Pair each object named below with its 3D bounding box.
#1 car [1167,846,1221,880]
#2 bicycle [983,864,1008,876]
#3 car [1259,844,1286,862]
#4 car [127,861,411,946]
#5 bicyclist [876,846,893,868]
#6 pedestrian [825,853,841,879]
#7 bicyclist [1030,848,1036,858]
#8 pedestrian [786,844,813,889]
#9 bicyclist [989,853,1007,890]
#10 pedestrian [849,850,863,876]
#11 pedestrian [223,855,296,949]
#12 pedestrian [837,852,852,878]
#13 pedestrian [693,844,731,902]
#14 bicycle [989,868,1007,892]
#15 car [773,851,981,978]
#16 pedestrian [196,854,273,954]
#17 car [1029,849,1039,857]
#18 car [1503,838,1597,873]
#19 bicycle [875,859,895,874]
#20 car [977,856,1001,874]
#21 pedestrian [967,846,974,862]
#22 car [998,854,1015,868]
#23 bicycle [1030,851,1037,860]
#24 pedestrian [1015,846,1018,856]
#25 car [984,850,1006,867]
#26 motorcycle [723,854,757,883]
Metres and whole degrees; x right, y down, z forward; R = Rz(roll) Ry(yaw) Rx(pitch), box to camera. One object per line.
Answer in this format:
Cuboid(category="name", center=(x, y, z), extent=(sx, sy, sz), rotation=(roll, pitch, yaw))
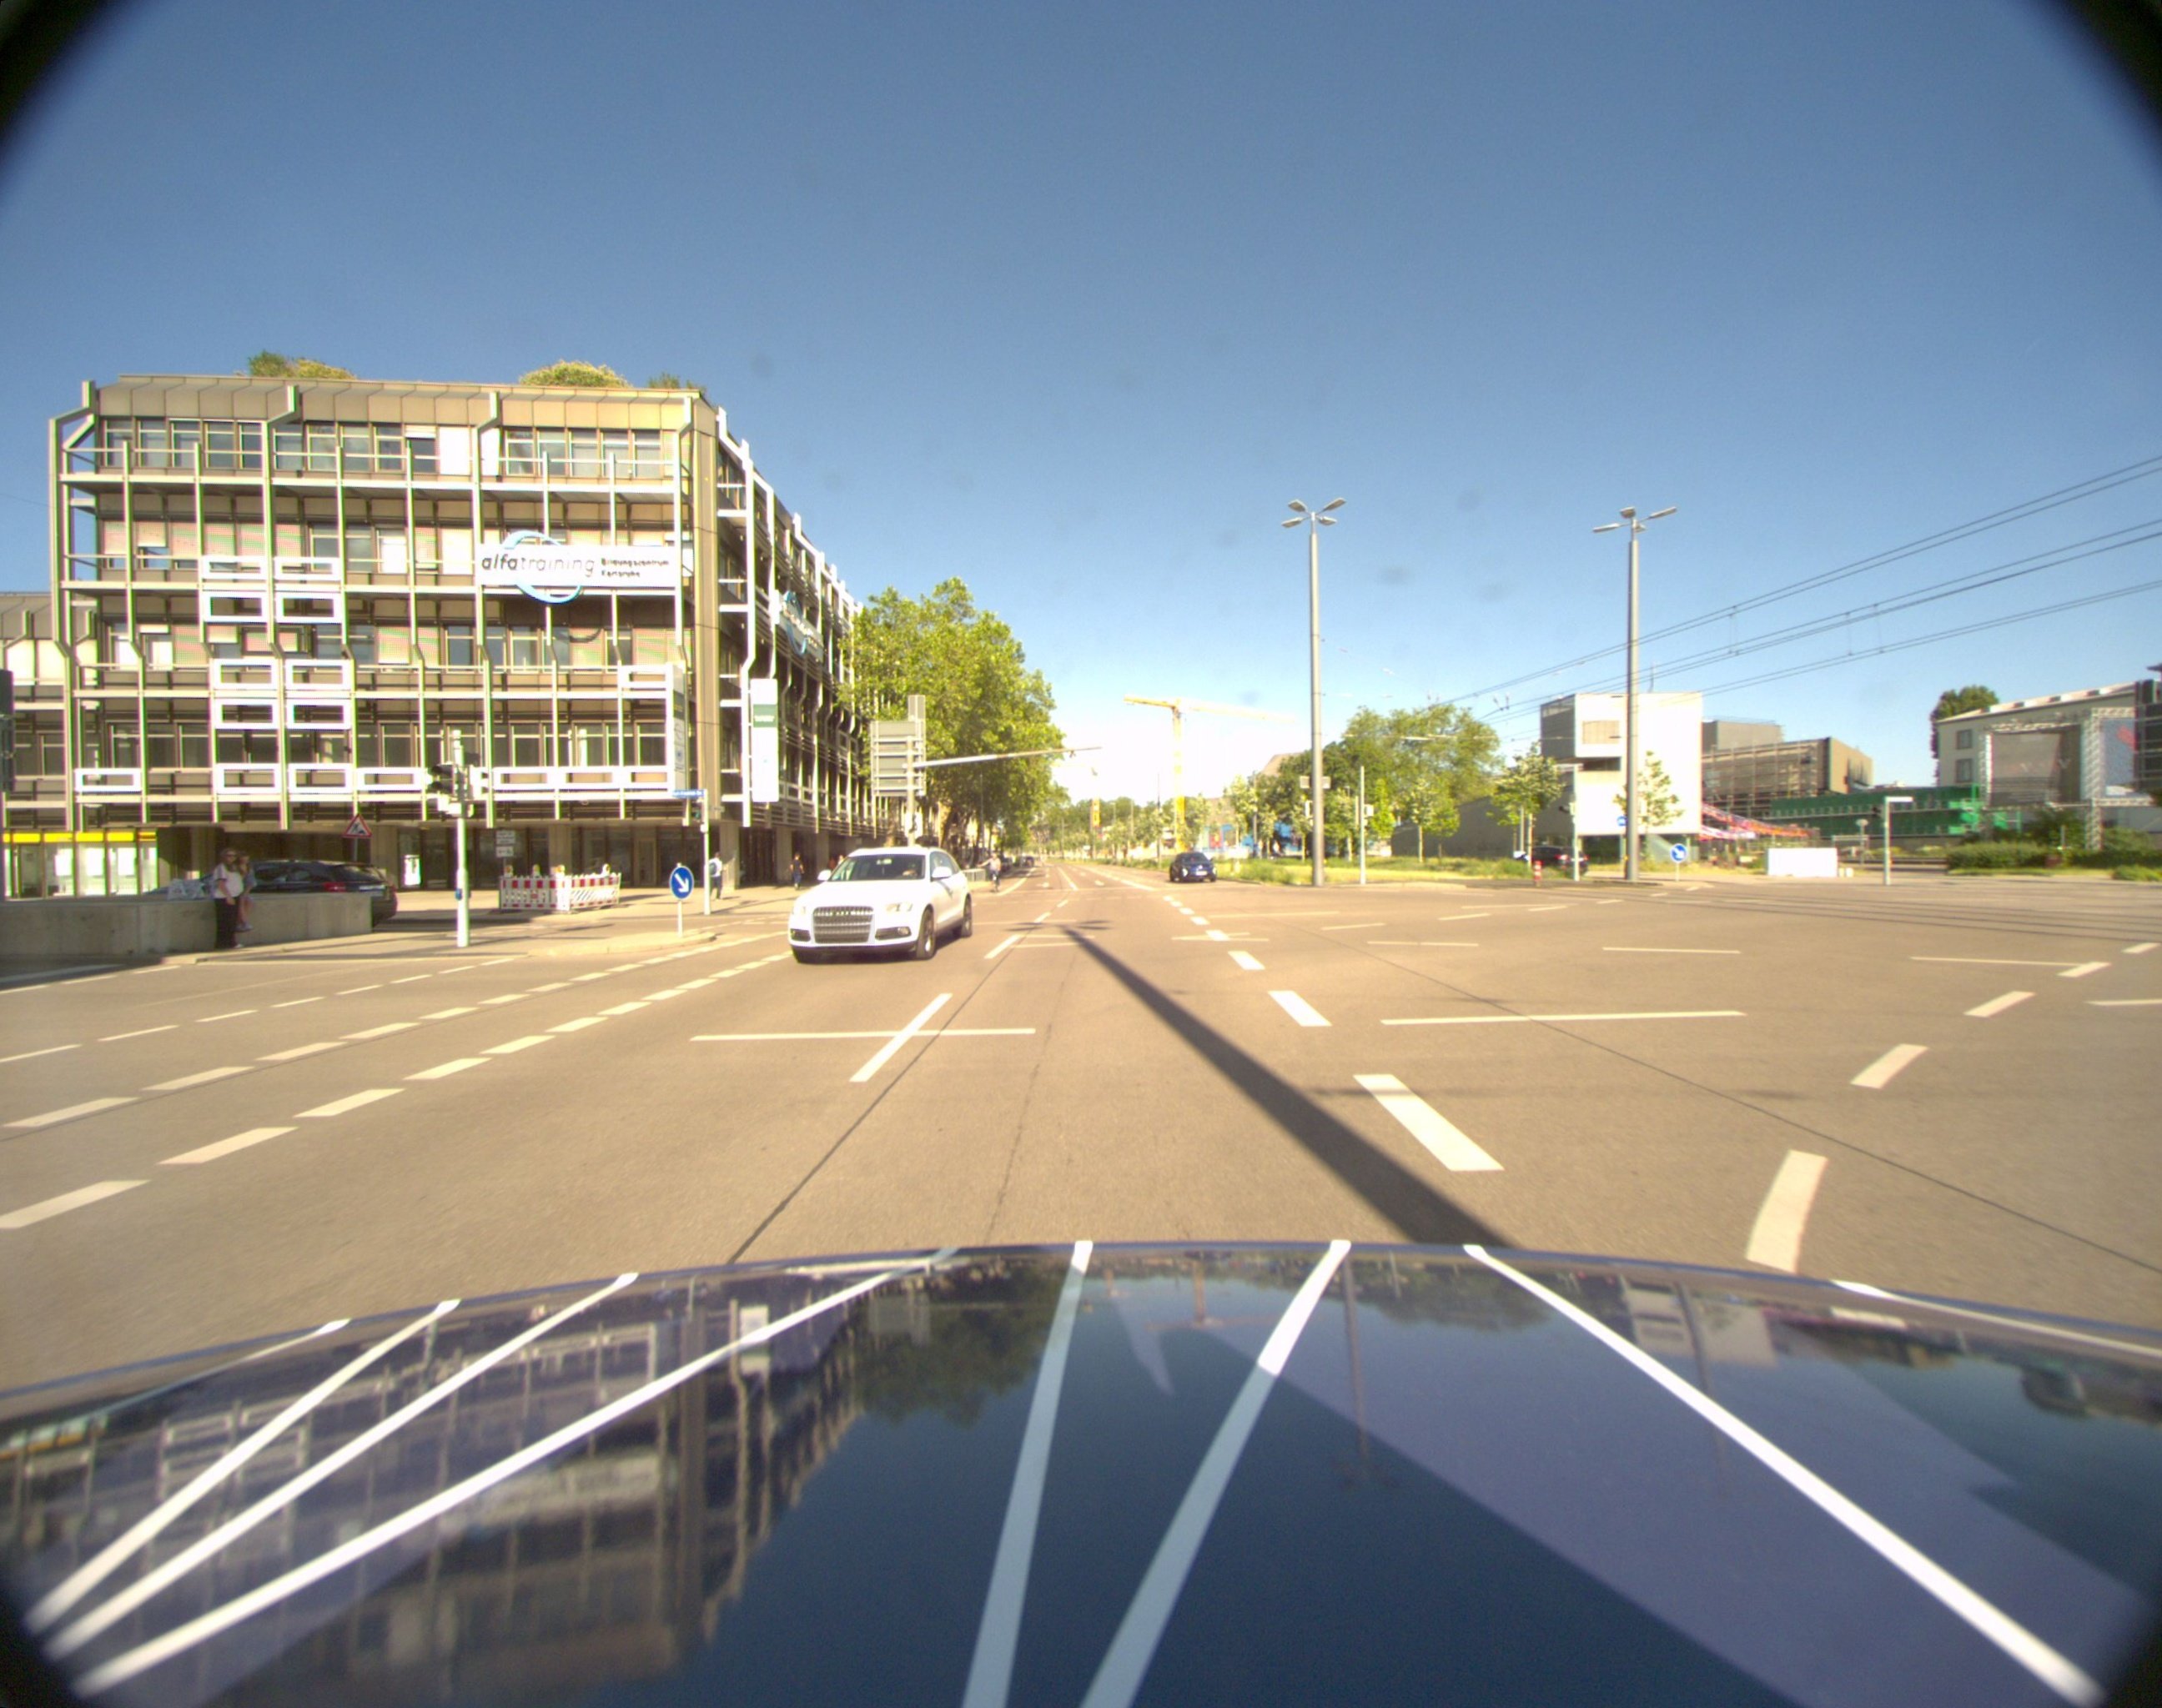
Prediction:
Cuboid(category="car", center=(5.765, 0.434, 39.200), extent=(1.775, 1.579, 4.086), rotation=(-3, 1, -5))
Cuboid(category="bicycle", center=(-6.625, 1.237, 58.755), extent=(1.849, 0.955, 0.711), rotation=(1, 1, -7))
Cuboid(category="car", center=(21.402, -0.155, 84.911), extent=(1.875, 1.944, 3.999), rotation=(-1, 1, -2))
Cuboid(category="car", center=(-18.458, 1.086, 17.454), extent=(4.410, 1.689, 1.790), rotation=(-1, 1, -2))
Cuboid(category="bicyclist", center=(-13.306, 0.205, 51.453), extent=(0.883, 1.468, 0.883), rotation=(-1, 1, -3))
Cuboid(category="pedestrian", center=(-15.572, 0.726, 47.792), extent=(0.668, 1.591, 1.009), rotation=(1, 1, -2))
Cuboid(category="bicyclist", center=(-6.597, -0.123, 104.640), extent=(0.830, 1.380, 0.903), rotation=(-1, 1, -2))
Cuboid(category="pedestrian", center=(-13.001, 0.574, 35.157), extent=(0.950, 2.002, 1.078), rotation=(-1, 1, -10))
Cuboid(category="bicyclist", center=(-3.882, 0.793, 35.693), extent=(0.711, 1.678, 0.852), rotation=(-3, 1, -4))
Cuboid(category="pedestrian", center=(-14.040, 0.550, 47.458), extent=(0.668, 1.591, 0.727), rotation=(1, 1, -2))
Cuboid(category="pedestrian", center=(-14.270, 0.820, 13.212), extent=(0.662, 1.603, 0.526), rotation=(1, 1, -11))
Cuboid(category="pedestrian", center=(-14.858, 0.700, 47.752), extent=(0.667, 1.591, 0.728), rotation=(1, 1, 1))
Cuboid(category="pedestrian", center=(-13.034, 0.656, 26.861), extent=(0.950, 2.002, 1.078), rotation=(-1, 1, -14))
Cuboid(category="bicycle", center=(-3.868, 1.213, 35.671), extent=(0.711, 0.987, 1.923), rotation=(-3, 1, -4))
Cuboid(category="car", center=(-2.971, 0.783, 12.164), extent=(1.823, 1.604, 4.413), rotation=(-2, 1, 4))
Cuboid(category="pedestrian", center=(-14.023, 0.813, 12.604), extent=(0.662, 1.603, 0.526), rotation=(1, 1, -11))
Cuboid(category="car", center=(-9.554, -0.269, 153.704), extent=(1.999, 1.598, 3.894), rotation=(-1, 0, -4))
Cuboid(category="car", center=(24.841, 0.059, 40.433), extent=(1.999, 1.697, 4.558), rotation=(-1, 1, -4))
Cuboid(category="bicycle", center=(-13.303, 0.853, 51.521), extent=(0.883, 0.979, 2.050), rotation=(-1, 1, -2))
Cuboid(category="car", center=(-8.035, 0.929, 66.670), extent=(1.753, 1.481, 4.558), rotation=(0, 0, -3))
Cuboid(category="pedestrian", center=(-13.561, -0.002, 93.501), extent=(0.741, 2.002, 0.625), rotation=(-2, 1, -4))
Cuboid(category="car", center=(-8.894, 0.816, 90.674), extent=(1.753, 1.545, 4.335), rotation=(0, 0, -3))
Cuboid(category="bicycle", center=(-6.599, 0.231, 104.643), extent=(0.845, 1.123, 2.552), rotation=(-1, 0, -2))
Cuboid(category="pedestrian", center=(-12.155, -0.571, 142.764), extent=(0.591, 1.830, 0.569), rotation=(-1, 1, -3))
Cuboid(category="car", center=(-8.294, 0.427, 73.507), extent=(1.753, 1.624, 4.335), rotation=(0, 0, -3))
Cuboid(category="motorcycle", center=(-17.881, 0.751, 39.890), extent=(0.825, 1.433, 2.121), rotation=(-1, 1, -2))
